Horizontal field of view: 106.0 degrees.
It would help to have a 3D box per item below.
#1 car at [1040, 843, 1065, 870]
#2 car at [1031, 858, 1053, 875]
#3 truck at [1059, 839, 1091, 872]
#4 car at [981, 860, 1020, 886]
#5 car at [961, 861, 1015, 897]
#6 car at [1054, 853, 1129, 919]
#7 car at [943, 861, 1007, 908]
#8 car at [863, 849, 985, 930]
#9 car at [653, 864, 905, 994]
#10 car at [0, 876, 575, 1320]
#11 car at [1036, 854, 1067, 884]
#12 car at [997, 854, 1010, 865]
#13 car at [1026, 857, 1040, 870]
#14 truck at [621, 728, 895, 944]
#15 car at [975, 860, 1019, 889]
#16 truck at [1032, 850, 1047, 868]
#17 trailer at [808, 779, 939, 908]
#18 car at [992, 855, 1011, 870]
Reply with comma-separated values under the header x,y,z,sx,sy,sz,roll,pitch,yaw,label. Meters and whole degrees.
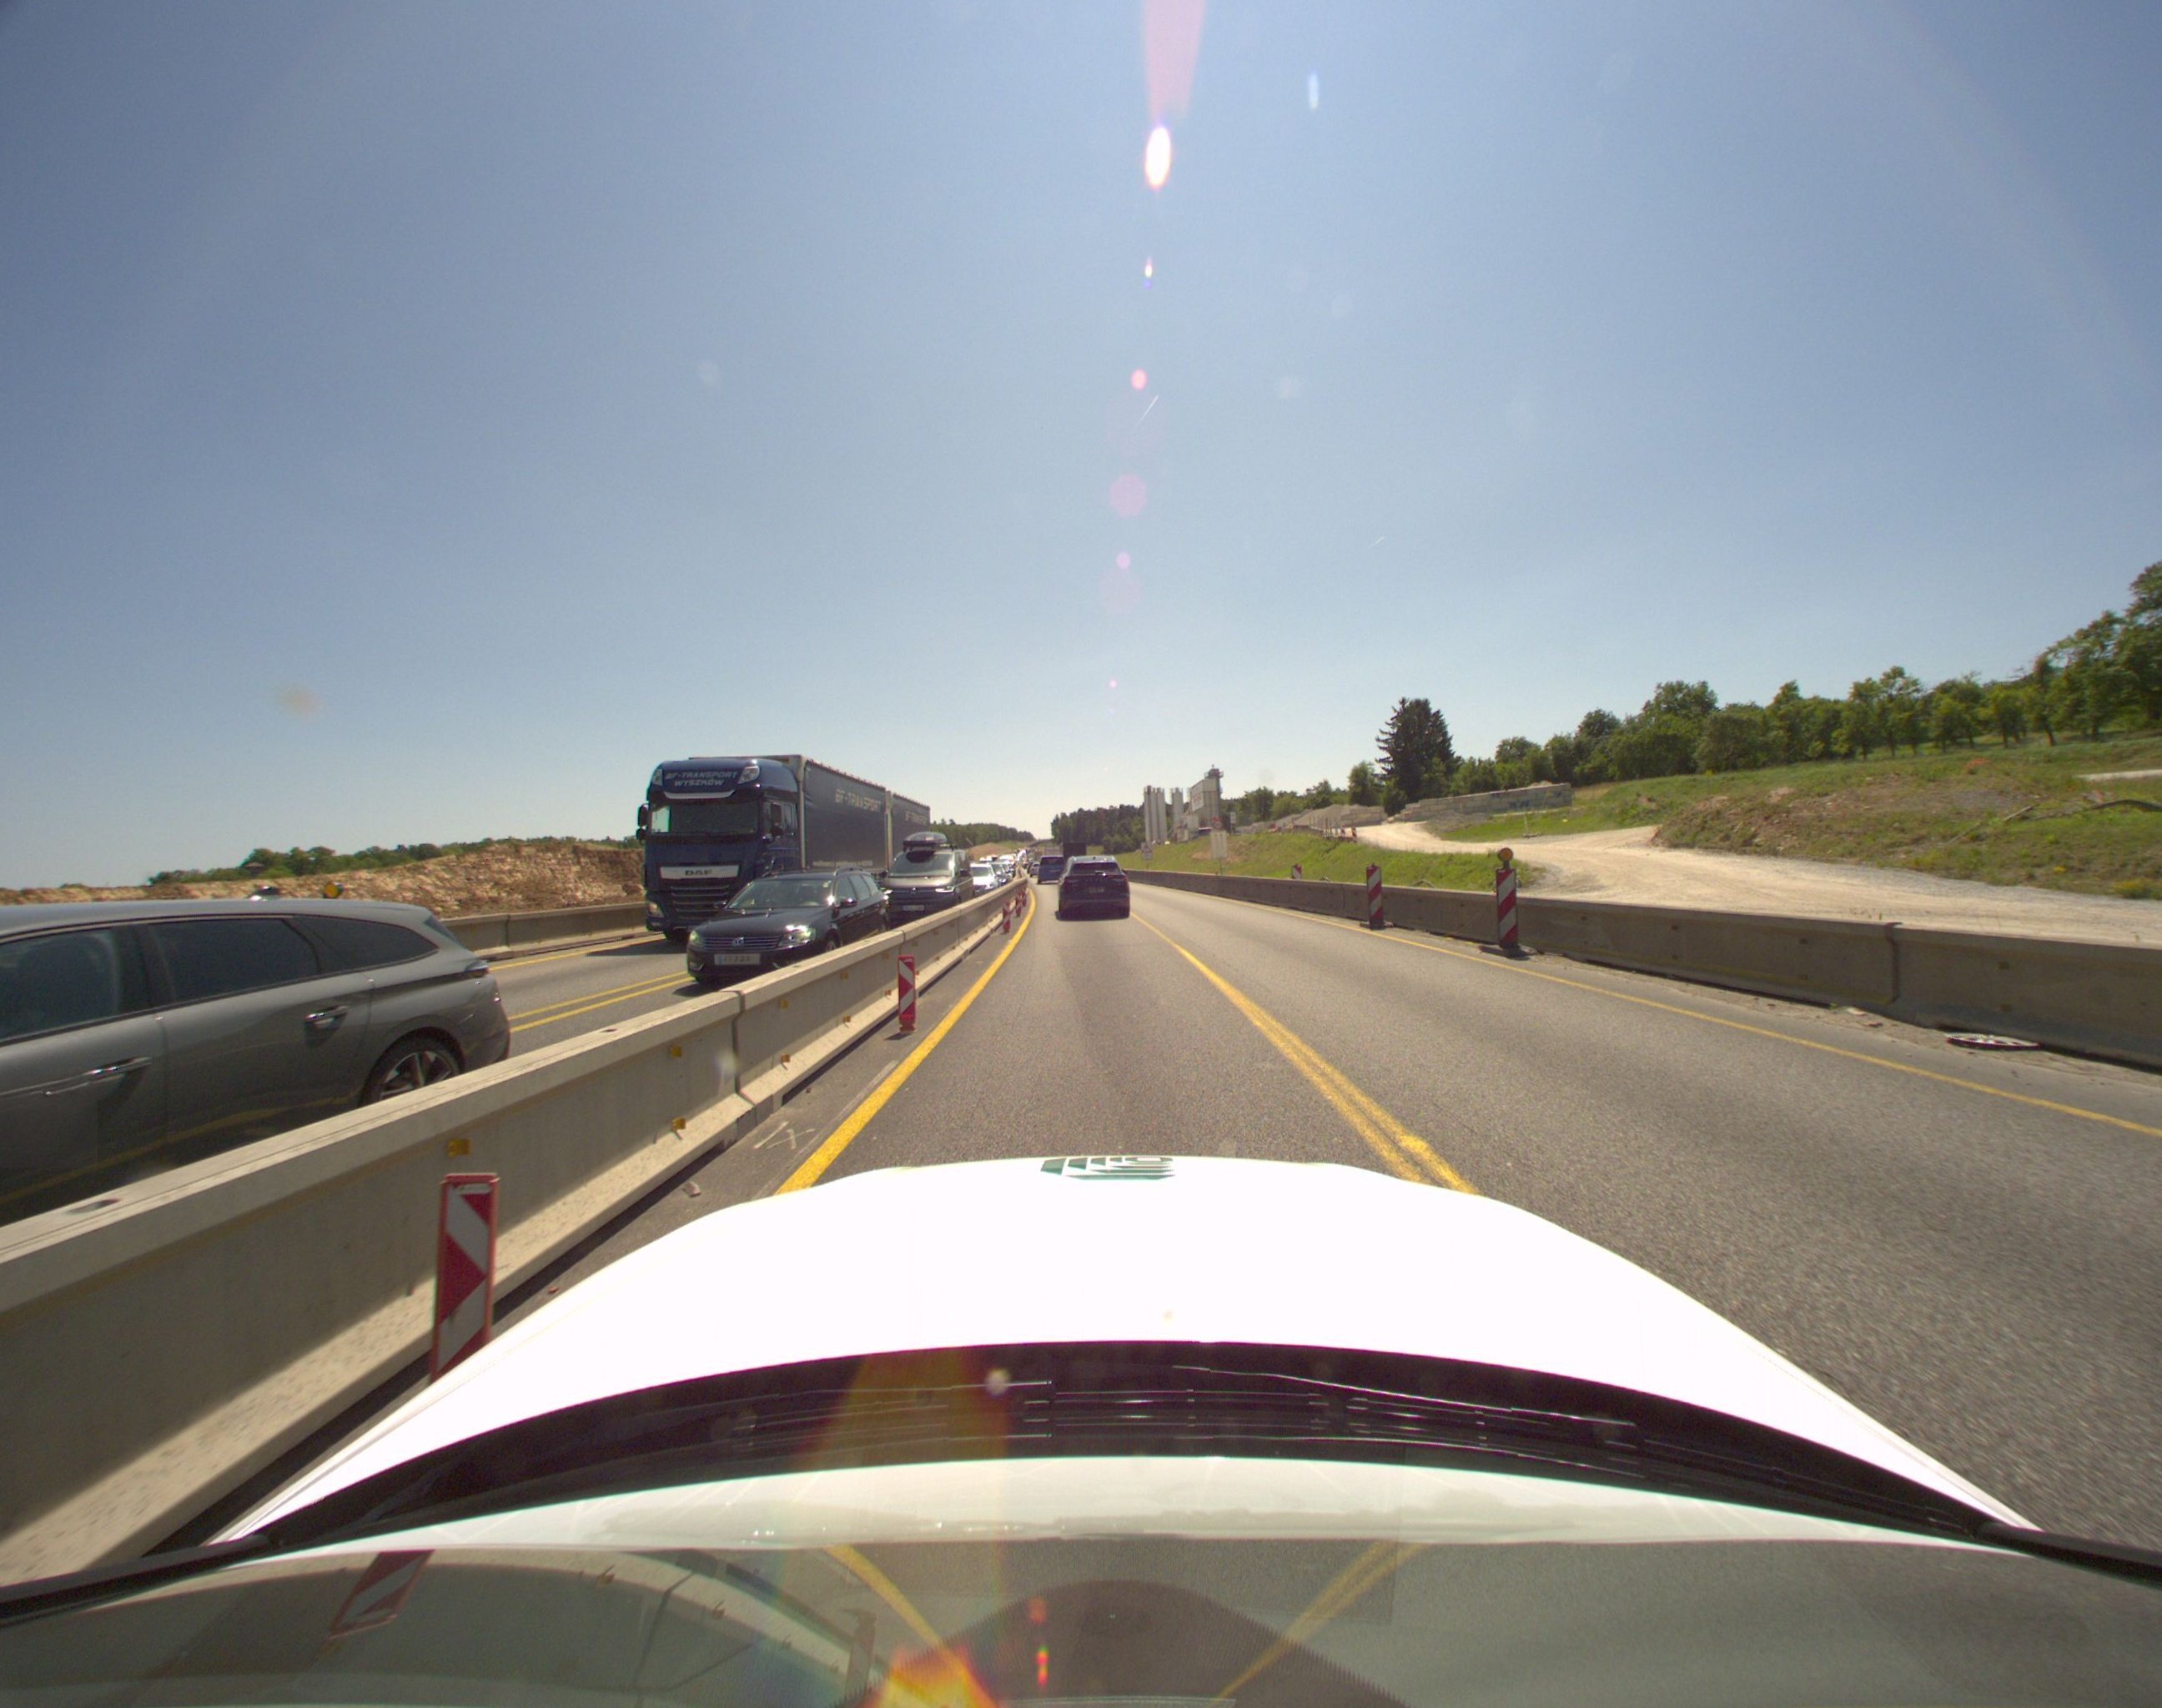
x,y,z,sx,sy,sz,roll,pitch,yaw,label
-4.594,0.404,128.274,3.431,4.101,9.181,1,0,-5,car
-3.875,1.224,81.705,2.040,1.526,5.062,-3,0,-2,car
-0.629,0.124,79.944,2.667,2.945,5.614,-4,0,-3,truck
-5.327,1.209,54.449,2.039,1.526,5.064,-2,0,-1,car
-4.411,1.139,39.377,2.039,1.526,5.064,-2,0,-1,car
0.371,0.805,22.372,1.835,1.582,4.003,-2,0,3,car
-3.827,1.064,30.008,1.989,1.530,4.054,-2,0,-3,car
-3.856,0.813,21.018,2.038,1.777,5.066,-2,0,1,car
-4.106,0.918,12.054,1.728,1.446,4.799,-2,0,2,car
-4.486,0.881,3.274,1.728,1.416,4.799,-2,0,2,car
-2.009,0.962,55.028,1.989,1.844,3.997,-2,0,-2,car
-10.236,0.753,108.265,1.614,1.324,3.689,-2,0,-5,car
-6.371,1.219,108.340,1.817,1.644,3.860,-2,0,-4,car
-7.564,-0.355,21.407,2.764,4.137,10.867,-2,0,0,truck
-4.875,1.154,47.986,2.039,1.526,5.064,-2,0,-1,car
-10.264,1.201,202.664,3.468,4.220,10.364,-1,0,-3,truck
-7.561,-0.353,30.945,2.728,4.137,8.184,-2,0,0,trailer
-7.465,0.821,76.504,1.614,1.324,3.689,-2,0,-5,car
